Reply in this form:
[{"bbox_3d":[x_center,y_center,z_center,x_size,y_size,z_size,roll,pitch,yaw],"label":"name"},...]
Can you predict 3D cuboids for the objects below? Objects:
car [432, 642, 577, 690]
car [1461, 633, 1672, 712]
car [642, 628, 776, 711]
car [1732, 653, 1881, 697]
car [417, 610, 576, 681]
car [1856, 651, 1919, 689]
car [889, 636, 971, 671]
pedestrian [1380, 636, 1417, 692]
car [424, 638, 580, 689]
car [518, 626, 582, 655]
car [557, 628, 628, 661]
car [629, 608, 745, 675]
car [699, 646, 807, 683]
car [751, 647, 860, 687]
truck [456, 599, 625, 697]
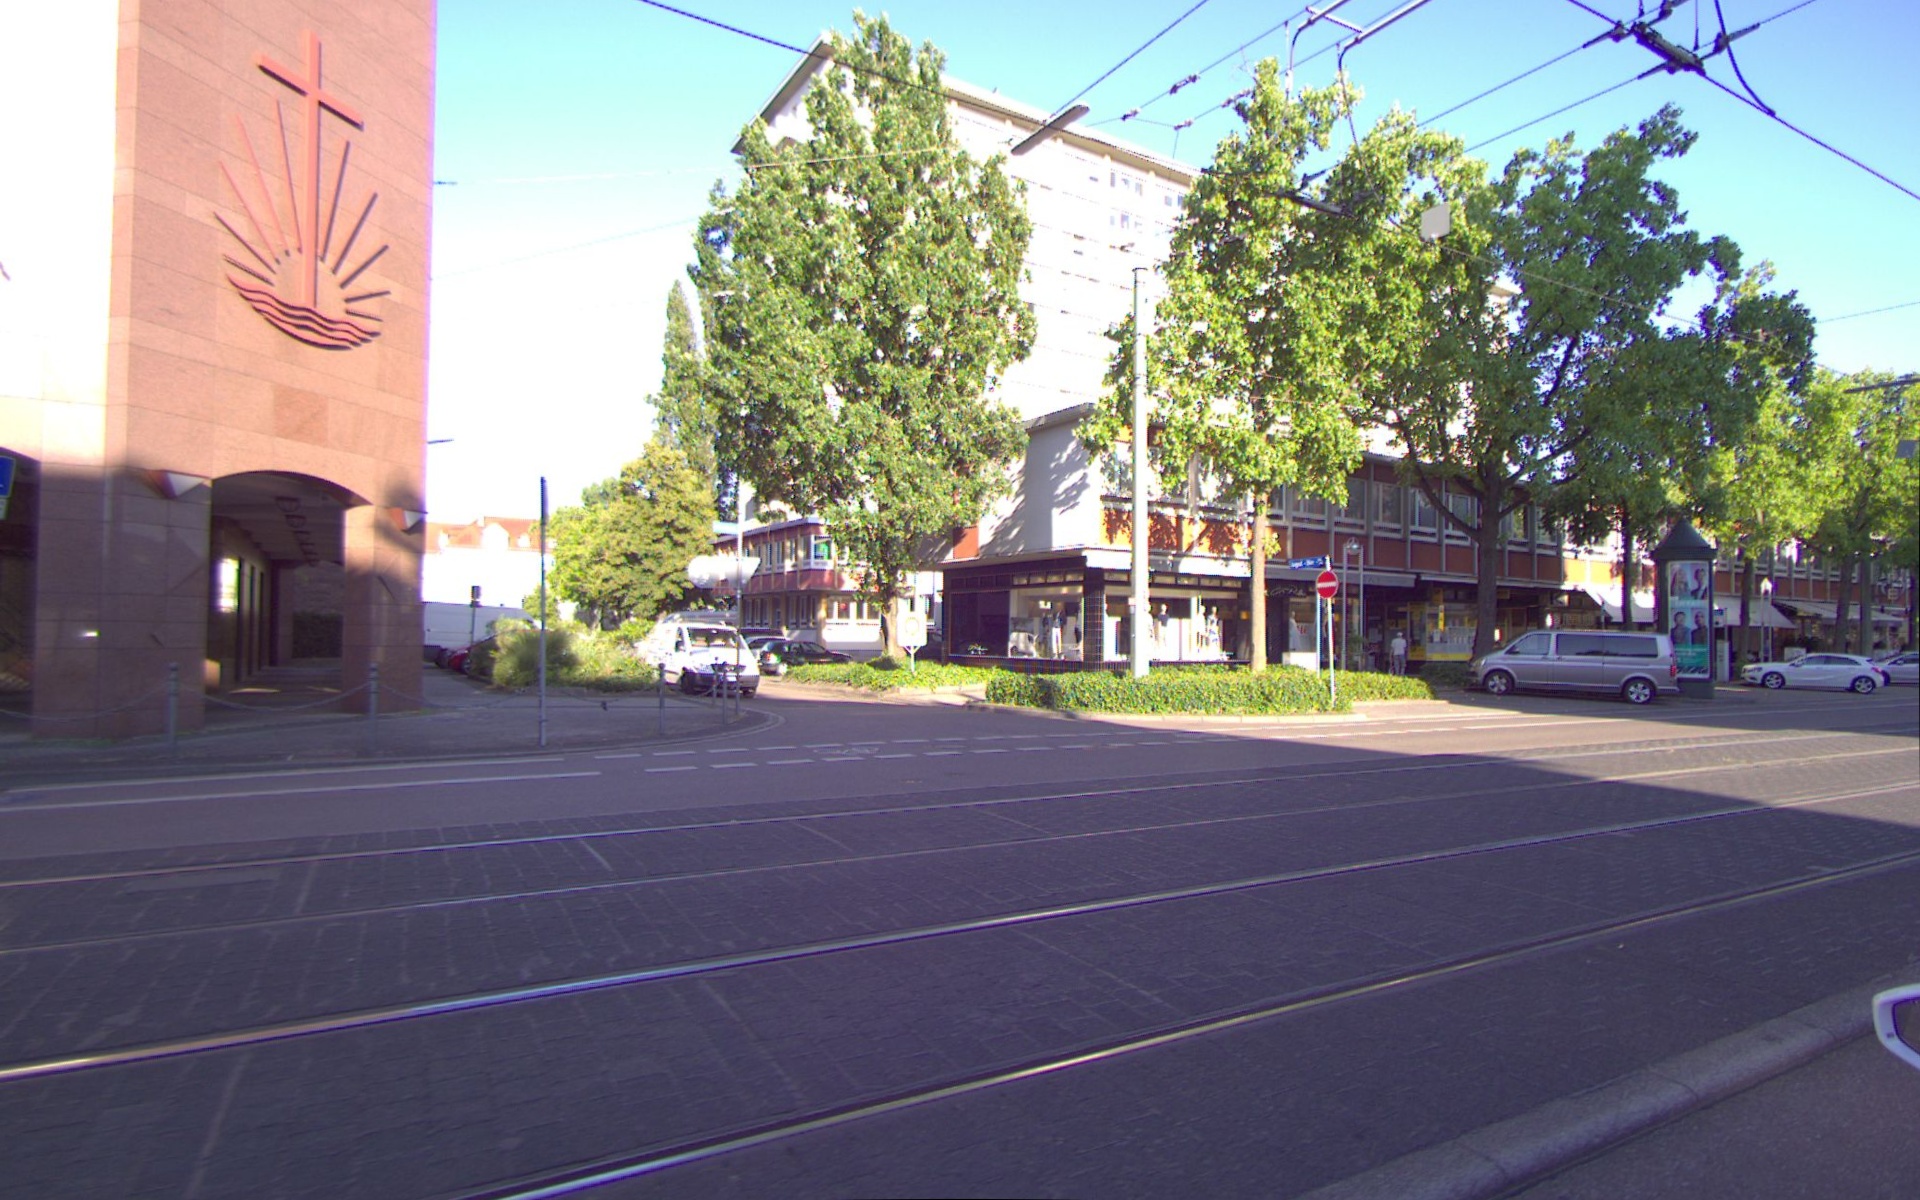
[{"bbox_3d":[-16.271,2.317,35.971,4.484,1.593,1.839,1,-2,-34],"label":"car"},{"bbox_3d":[17.261,2.009,28.870,5.030,1.954,1.851,1,-1,30],"label":"car"},{"bbox_3d":[-6.880,1.830,27.118,2.108,1.992,4.955,4,-4,-30],"label":"car"},{"bbox_3d":[33.060,2.908,39.382,4.194,1.448,1.763,1,-1,31],"label":"car"},{"bbox_3d":[-17.819,1.737,38.730,5.355,2.576,1.840,1,-2,-32],"label":"car"},{"bbox_3d":[42.688,3.130,44.470,4.204,1.586,1.824,0,-1,30],"label":"car"},{"bbox_3d":[-1.606,2.852,53.957,3.955,1.817,1.984,2,-3,-31],"label":"car"},{"bbox_3d":[14.988,2.178,34.332,0.901,1.902,0.901,0,-2,5],"label":"pedestrian"},{"bbox_3d":[-15.212,2.061,33.454,4.484,1.593,1.839,1,-2,-34],"label":"car"},{"bbox_3d":[-38.771,3.871,95.030,5.239,2.652,2.124,3,-3,-32],"label":"car"},{"bbox_3d":[-31.093,3.793,85.026,5.239,2.652,2.124,3,-3,-32],"label":"car"},{"bbox_3d":[-14.654,2.292,54.029,5.568,3.455,2.126,3,-3,-31],"label":"car"},{"bbox_3d":[-9.434,2.899,45.770,4.412,1.598,2.035,2,-3,-31],"label":"car"},{"bbox_3d":[-6.427,2.767,41.895,4.054,1.598,2.021,2,-3,-31],"label":"car"},{"bbox_3d":[-12.785,1.439,30.697,4.484,2.799,1.839,1,-2,-34],"label":"truck"}]
